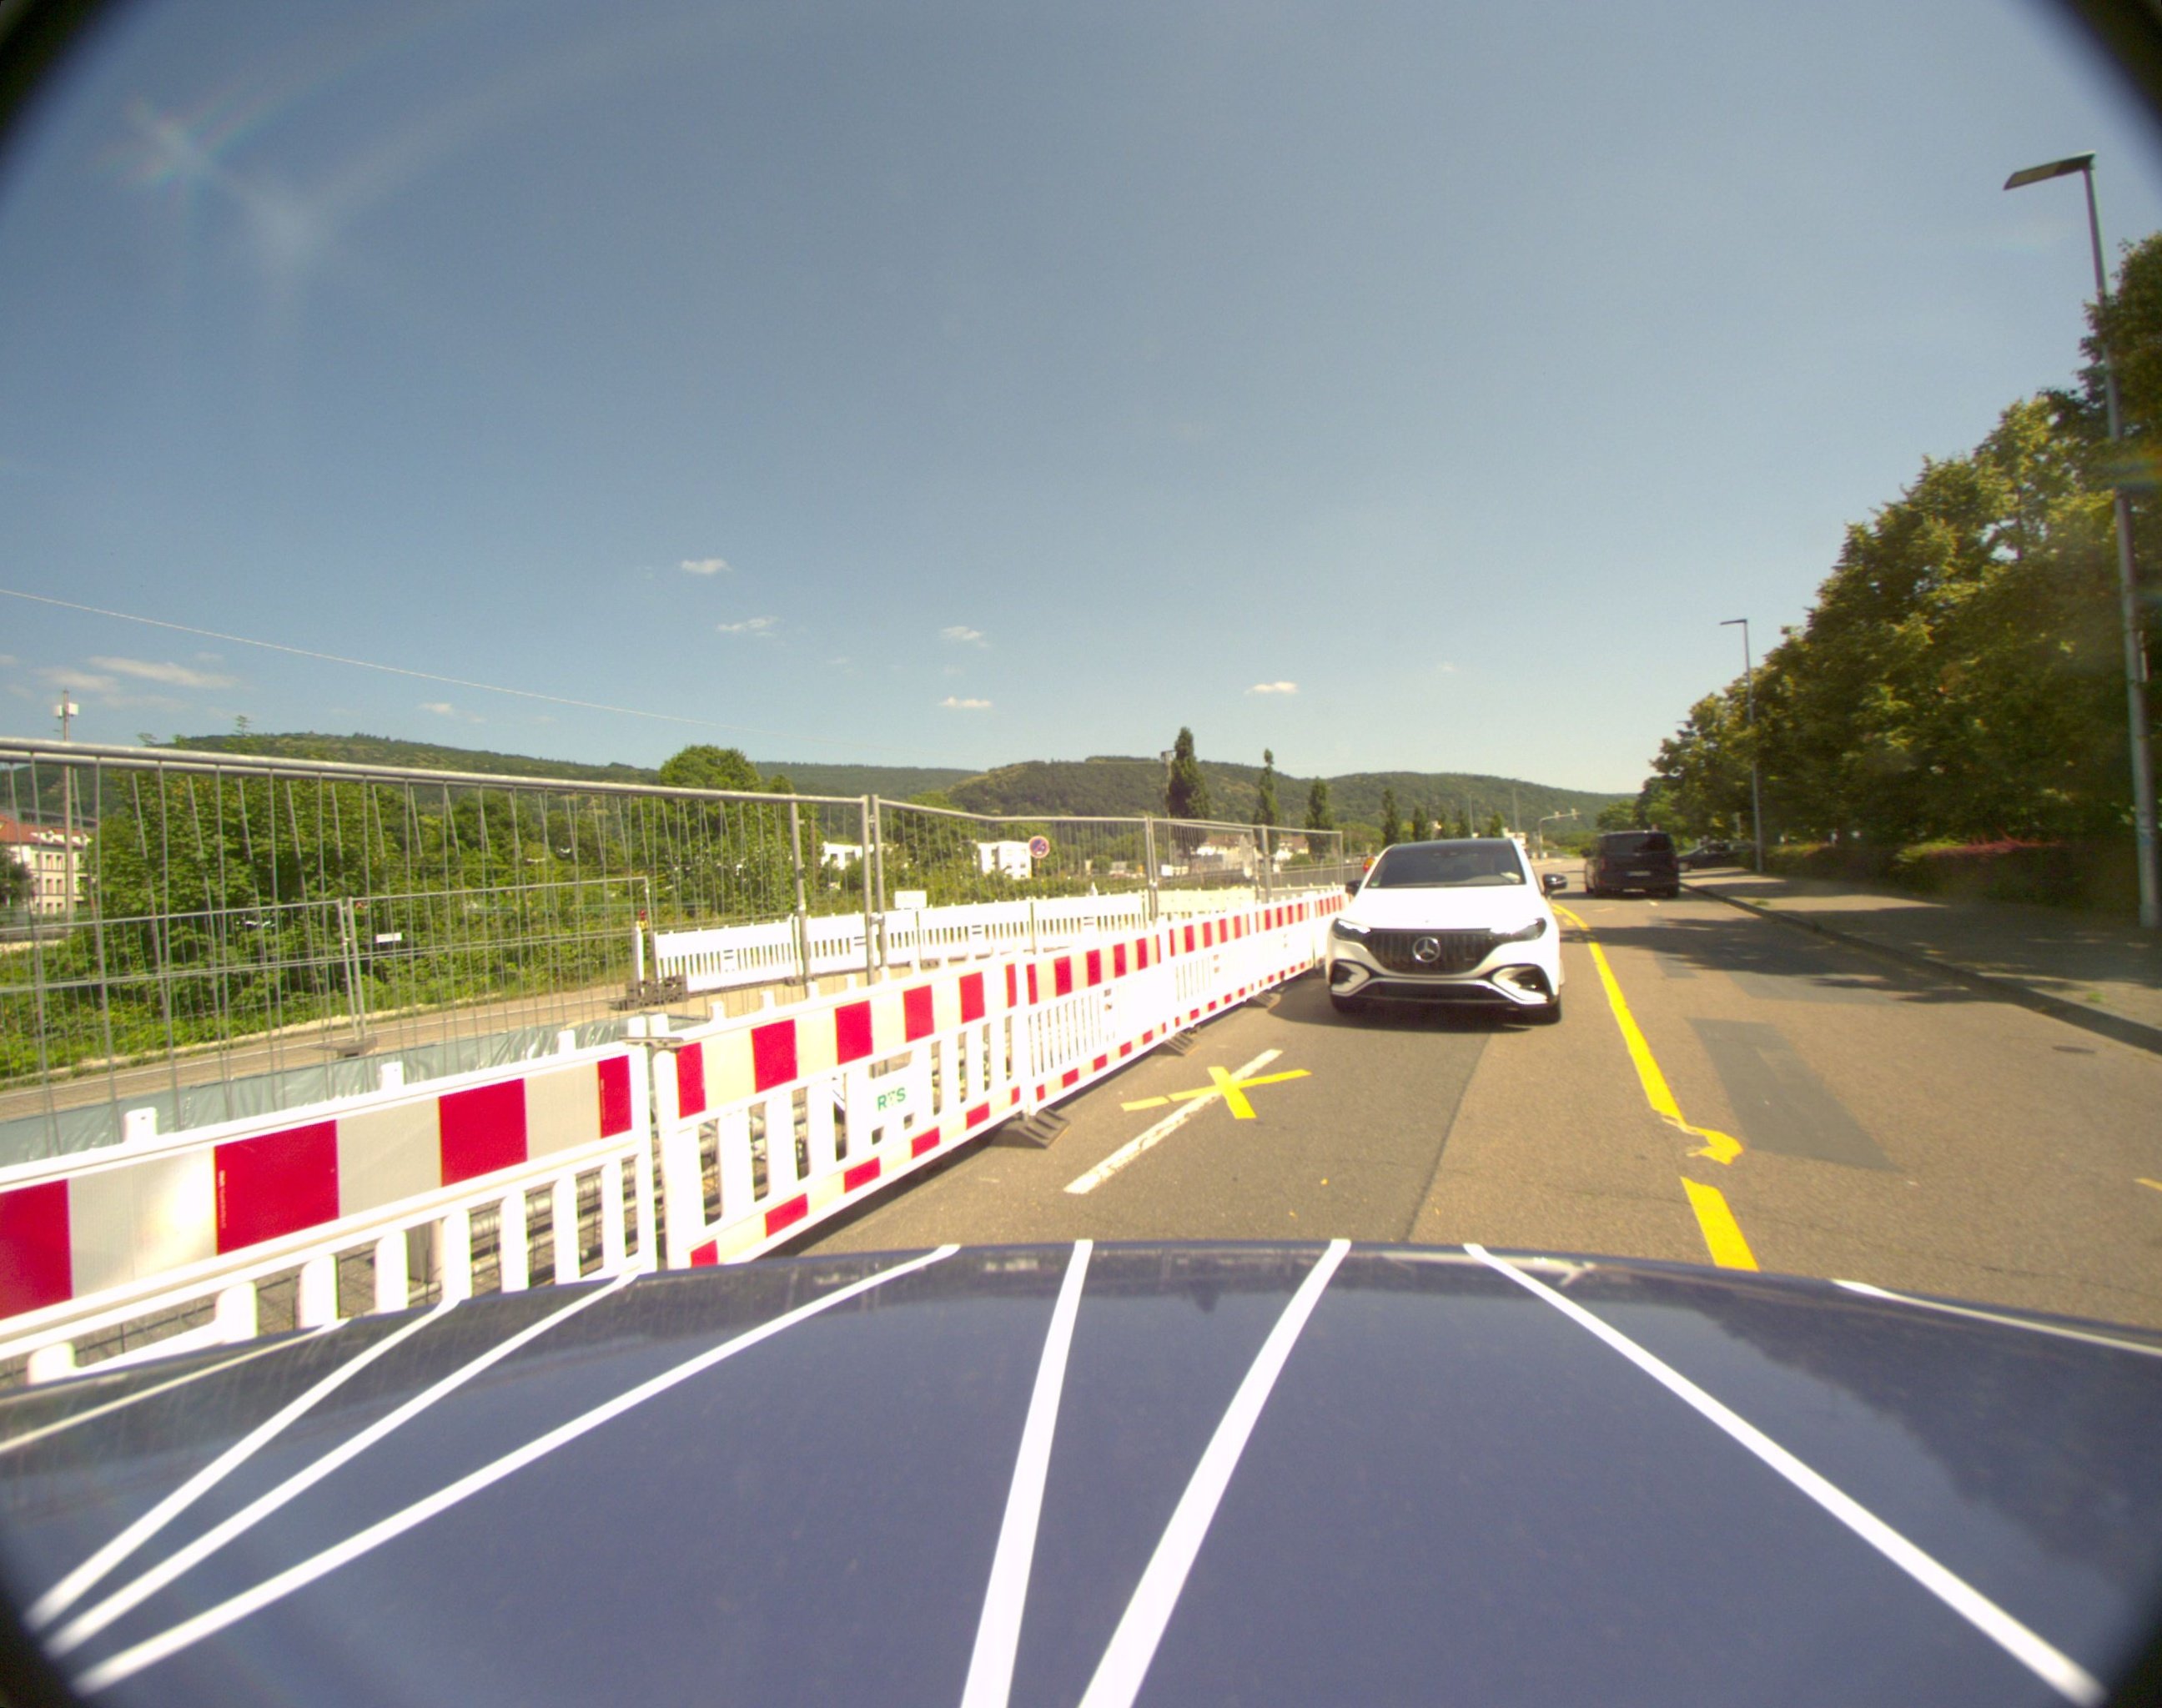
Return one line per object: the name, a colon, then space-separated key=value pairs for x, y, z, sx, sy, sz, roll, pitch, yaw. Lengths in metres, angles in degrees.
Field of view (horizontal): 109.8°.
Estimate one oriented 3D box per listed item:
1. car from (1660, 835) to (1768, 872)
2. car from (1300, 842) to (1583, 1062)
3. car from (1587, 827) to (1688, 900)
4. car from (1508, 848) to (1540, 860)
car: x=31.729 y=-0.014 z=38.250 sx=3.991 sy=1.455 sz=1.884 roll=-7 pitch=-2 yaw=37
car: x=4.108 y=0.756 z=8.328 sx=1.995 sy=1.635 sz=5.041 roll=-4 pitch=-1 yaw=31
car: x=17.047 y=0.245 z=23.532 sx=2.178 sy=1.956 sz=5.455 roll=-3 pitch=0 yaw=33
car: x=62.303 y=-0.014 z=106.926 sx=1.998 sy=1.635 sz=4.528 roll=-2 pitch=0 yaw=1
